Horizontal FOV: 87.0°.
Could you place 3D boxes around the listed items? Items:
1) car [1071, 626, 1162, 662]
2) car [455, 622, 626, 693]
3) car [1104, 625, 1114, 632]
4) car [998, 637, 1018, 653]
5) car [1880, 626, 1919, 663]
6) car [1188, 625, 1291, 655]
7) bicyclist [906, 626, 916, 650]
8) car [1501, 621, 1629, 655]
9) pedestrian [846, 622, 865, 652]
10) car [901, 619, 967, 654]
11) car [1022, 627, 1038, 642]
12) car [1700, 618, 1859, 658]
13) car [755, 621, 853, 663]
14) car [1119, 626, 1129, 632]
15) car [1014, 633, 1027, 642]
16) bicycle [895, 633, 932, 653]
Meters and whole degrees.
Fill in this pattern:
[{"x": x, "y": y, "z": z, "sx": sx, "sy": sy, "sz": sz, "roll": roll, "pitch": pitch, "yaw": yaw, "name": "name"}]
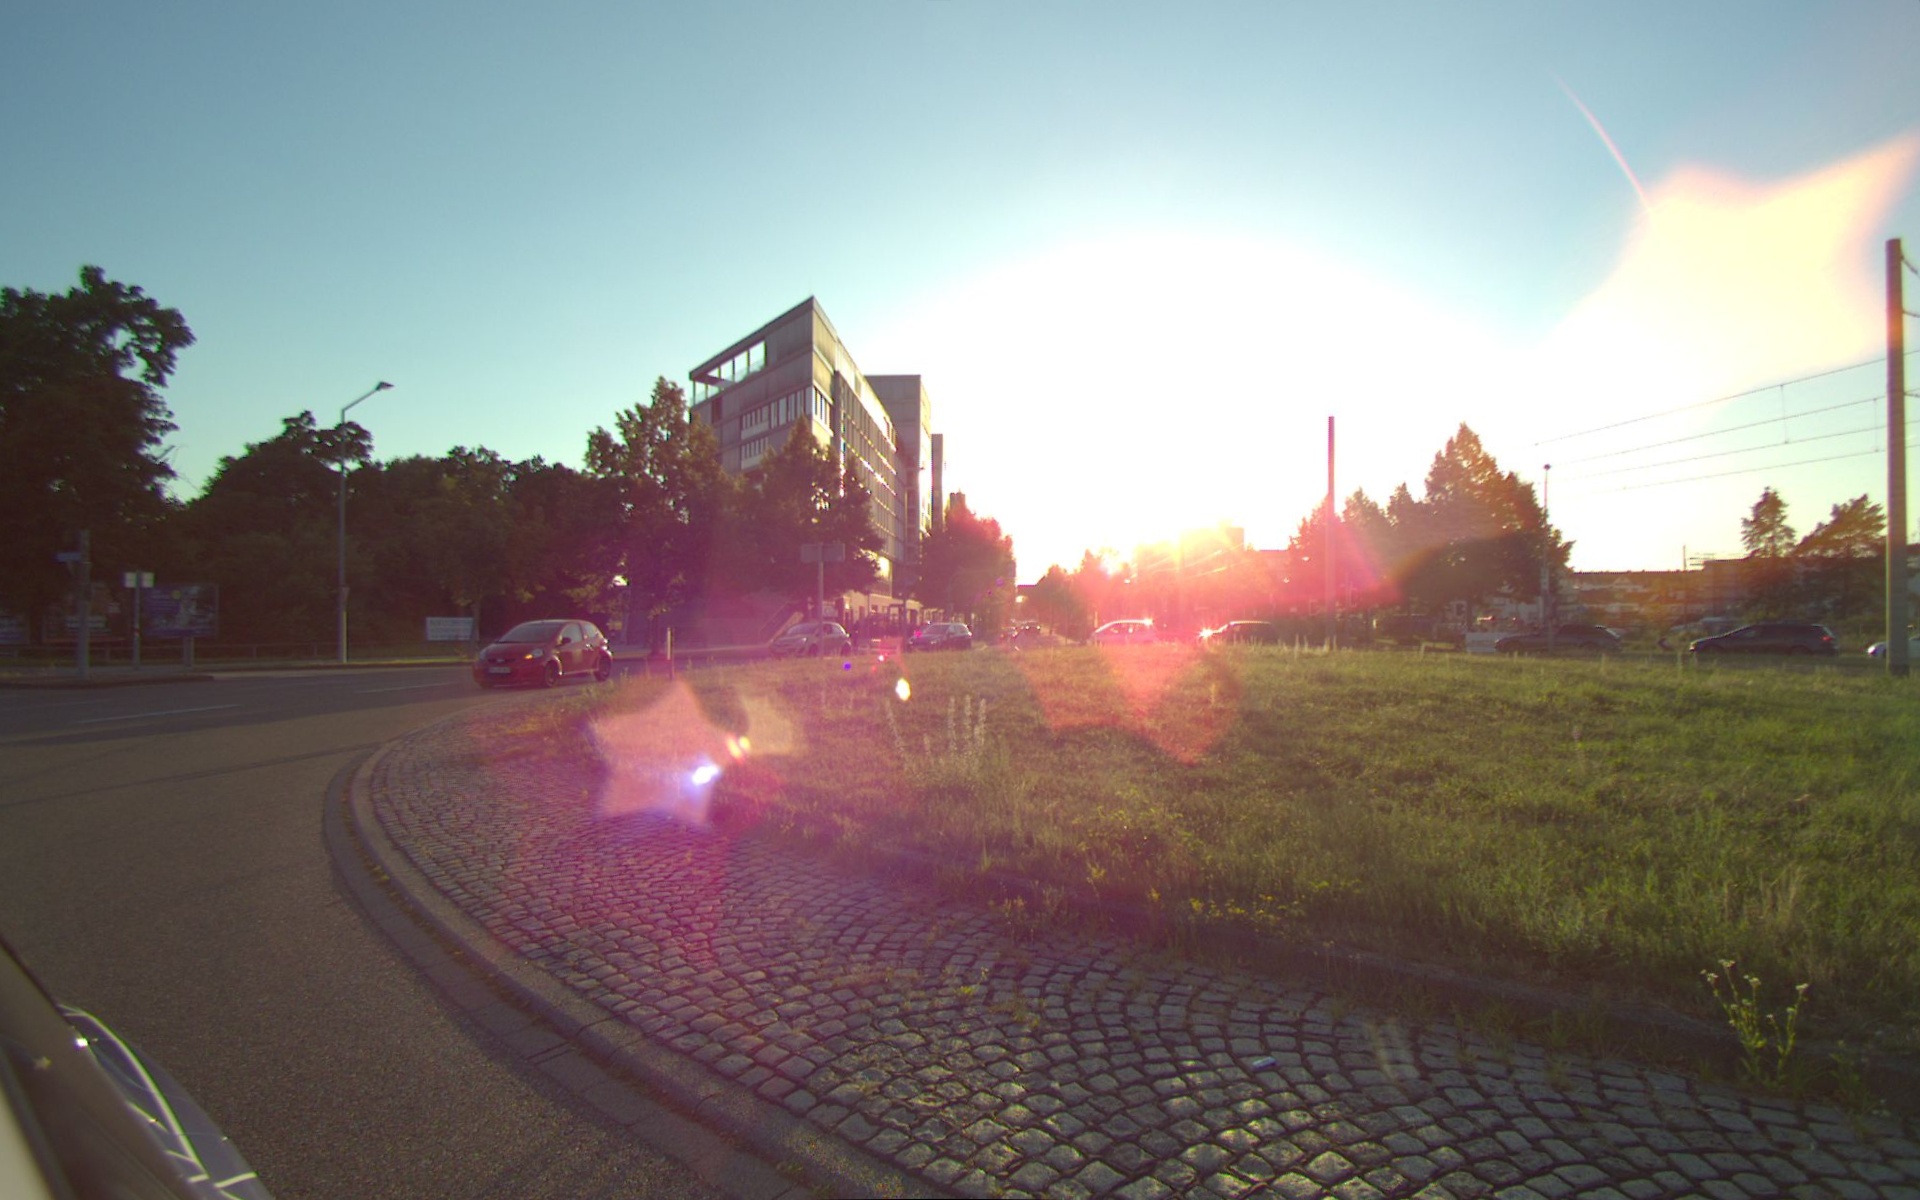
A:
[{"x": 7.342, "y": 2.044, "z": 47.721, "sx": 3.831, "sy": 1.592, "sz": 1.958, "roll": 0, "pitch": -1, "yaw": -7, "name": "car"}, {"x": -9.256, "y": 1.210, "z": 22.703, "sx": 1.671, "sy": 1.431, "sz": 3.987, "roll": -1, "pitch": -1, "yaw": 10, "name": "car"}, {"x": 34.515, "y": 6.556, "z": 234.636, "sx": 1.976, "sy": 1.464, "sz": 3.992, "roll": 0, "pitch": -1, "yaw": 6, "name": "car"}, {"x": 4.668, "y": 4.334, "z": 97.670, "sx": 1.730, "sy": 1.389, "sz": 4.117, "roll": 0, "pitch": -2, "yaw": 6, "name": "car"}, {"x": 37.298, "y": 1.657, "z": 37.367, "sx": 2.074, "sy": 1.377, "sz": 4.480, "roll": 0, "pitch": -1, "yaw": -31, "name": "car"}, {"x": 13.204, "y": 1.894, "z": 48.005, "sx": 4.325, "sy": 1.386, "sz": 1.999, "roll": 0, "pitch": -1, "yaw": 2, "name": "car"}, {"x": -3.071, "y": 2.358, "z": 62.997, "sx": 0.602, "sy": 1.451, "sz": 0.692, "roll": 0, "pitch": -1, "yaw": -2, "name": "bicyclist"}, {"x": 25.729, "y": 1.600, "z": 43.113, "sx": 4.351, "sy": 1.386, "sz": 1.972, "roll": -1, "pitch": -2, "yaw": 42, "name": "car"}, {"x": -7.144, "y": 2.499, "z": 68.973, "sx": 0.995, "sy": 2.029, "sz": 0.768, "roll": -1, "pitch": 0, "yaw": 29, "name": "pedestrian"}, {"x": -1.197, "y": 1.700, "z": 48.516, "sx": 1.721, "sy": 1.590, "sz": 4.300, "roll": 0, "pitch": -1, "yaw": 20, "name": "car"}, {"x": 9.218, "y": 4.581, "z": 133.340, "sx": 1.974, "sy": 1.827, "sz": 5.298, "roll": -2, "pitch": -2, "yaw": 4, "name": "car"}, {"x": 30.632, "y": 1.388, "z": 37.928, "sx": 1.969, "sy": 1.386, "sz": 4.389, "roll": 1, "pitch": -2, "yaw": -42, "name": "car"}, {"x": -5.675, "y": 1.511, "z": 37.263, "sx": 1.680, "sy": 1.431, "sz": 3.966, "roll": -1, "pitch": -1, "yaw": 25, "name": "car"}, {"x": 37.159, "y": 6.604, "z": 229.293, "sx": 1.976, "sy": 1.464, "sz": 3.992, "roll": 0, "pitch": -1, "yaw": 6, "name": "car"}, {"x": 9.564, "y": 5.933, "z": 160.050, "sx": 1.973, "sy": 1.464, "sz": 3.998, "roll": 0, "pitch": -1, "yaw": 1, "name": "car"}, {"x": -2.891, "y": 2.682, "z": 62.975, "sx": 2.315, "sy": 1.254, "sz": 0.742, "roll": 0, "pitch": -1, "yaw": 0, "name": "bicycle"}]
